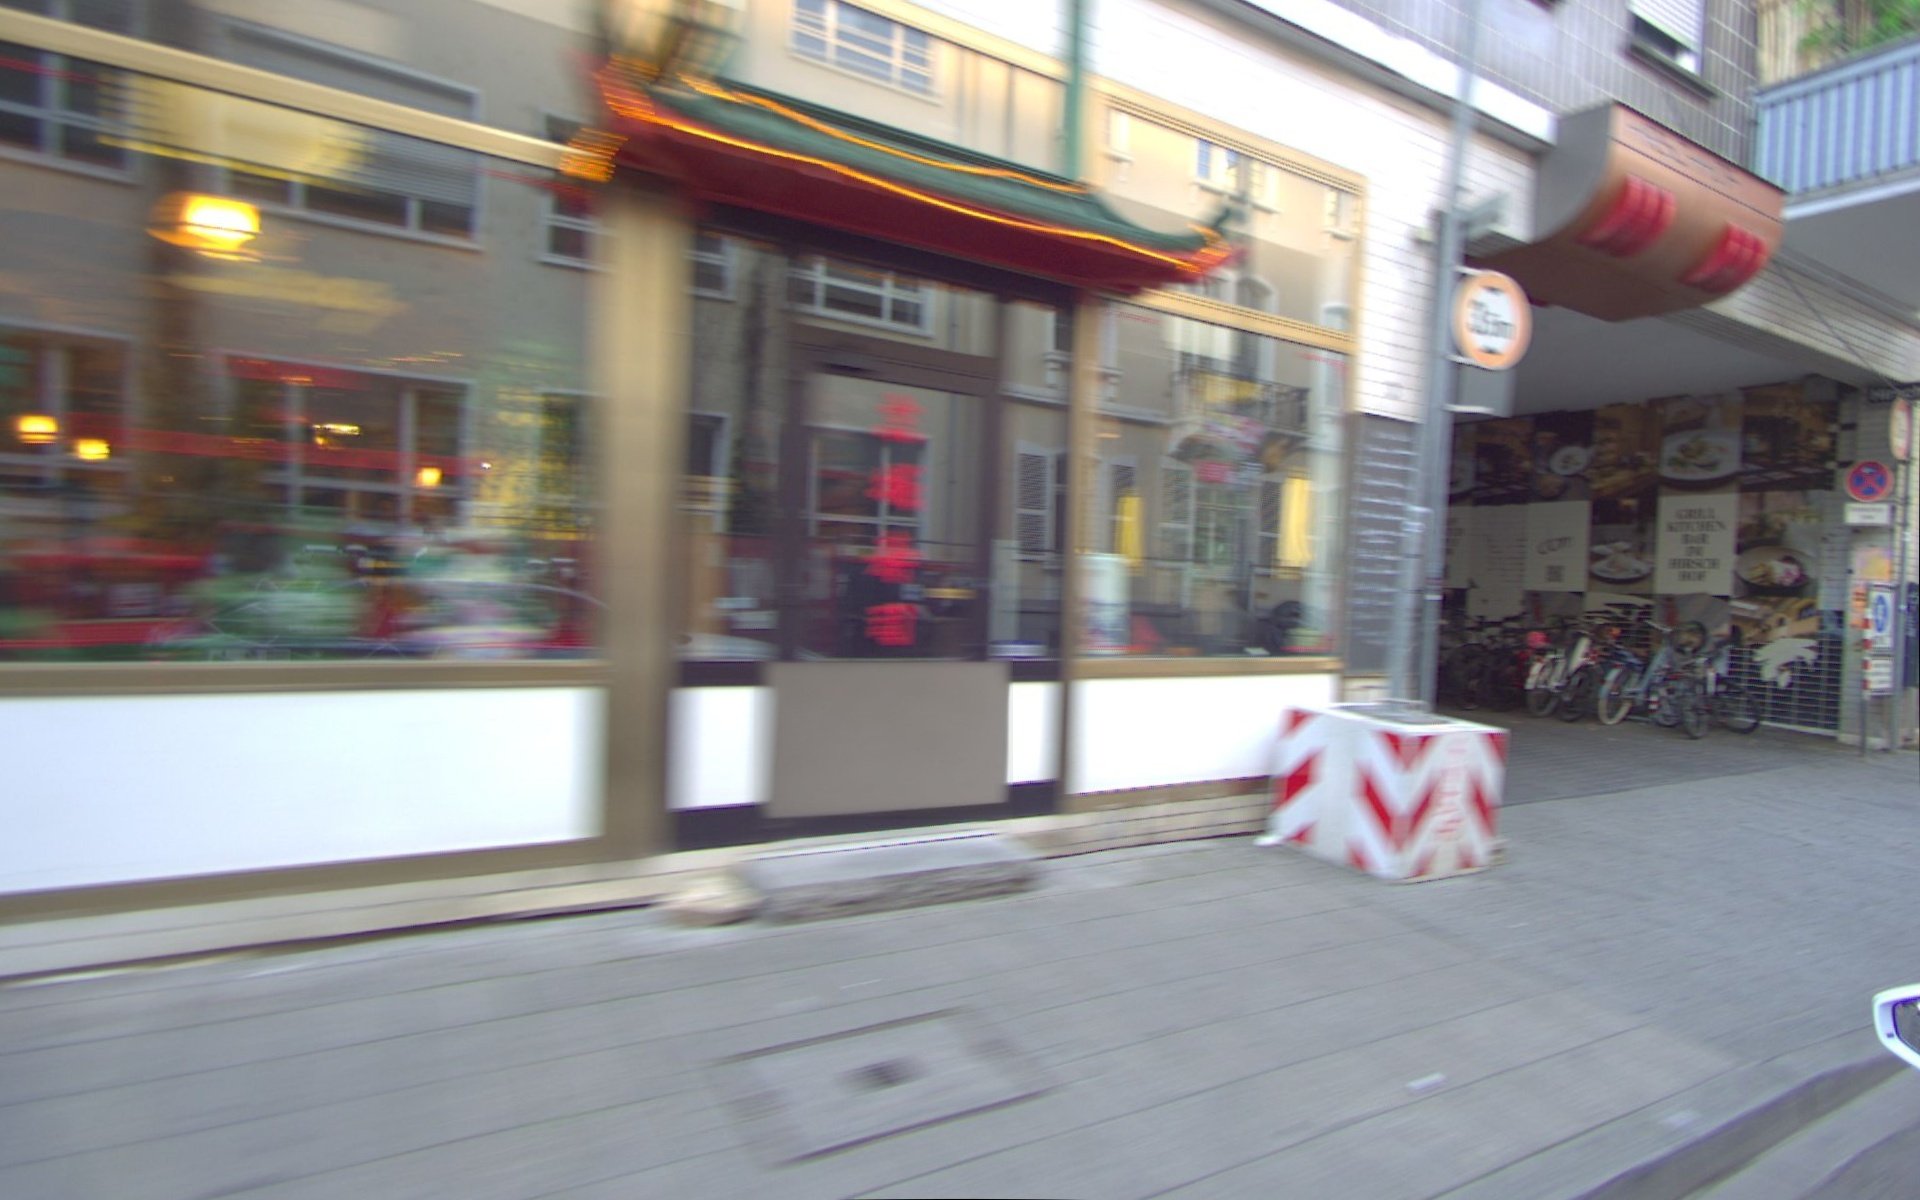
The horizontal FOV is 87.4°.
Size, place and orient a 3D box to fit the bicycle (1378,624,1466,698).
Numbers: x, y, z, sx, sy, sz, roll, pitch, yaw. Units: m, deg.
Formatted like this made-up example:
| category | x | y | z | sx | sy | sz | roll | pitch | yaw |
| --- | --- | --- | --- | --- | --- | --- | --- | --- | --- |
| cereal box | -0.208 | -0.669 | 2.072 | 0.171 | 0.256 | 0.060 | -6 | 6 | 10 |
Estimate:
| category | x | y | z | sx | sy | sz | roll | pitch | yaw |
| --- | --- | --- | --- | --- | --- | --- | --- | --- | --- |
| bicycle | 6.448 | 0.829 | 13.989 | 1.486 | 0.974 | 0.375 | 0 | 2 | -34 |

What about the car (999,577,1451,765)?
| category | x | y | z | sx | sy | sz | roll | pitch | yaw |
| --- | --- | --- | --- | --- | --- | --- | --- | --- | --- |
| car | 2.425 | 0.551 | 10.325 | 1.998 | 1.441 | 4.292 | 2 | 1 | -31 |

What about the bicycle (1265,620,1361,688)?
| category | x | y | z | sx | sy | sz | roll | pitch | yaw |
| --- | --- | --- | --- | --- | --- | --- | --- | --- | --- |
| bicycle | 5.392 | 0.805 | 15.314 | 1.777 | 0.974 | 0.375 | 0 | 2 | -34 |

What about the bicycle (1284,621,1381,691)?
| category | x | y | z | sx | sy | sz | roll | pitch | yaw |
| --- | --- | --- | --- | --- | --- | --- | --- | --- | --- |
| bicycle | 5.585 | 0.808 | 15.005 | 1.777 | 0.974 | 0.375 | 0 | 2 | -34 |

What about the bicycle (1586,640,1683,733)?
| category | x | y | z | sx | sy | sz | roll | pitch | yaw |
| --- | --- | --- | --- | --- | --- | --- | --- | --- | --- |
| bicycle | 7.809 | 0.971 | 11.615 | 1.486 | 0.974 | 0.375 | 0 | 2 | -34 |

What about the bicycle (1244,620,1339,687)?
| category | x | y | z | sx | sy | sz | roll | pitch | yaw |
| --- | --- | --- | --- | --- | --- | --- | --- | --- | --- |
| bicycle | 5.175 | 0.808 | 15.645 | 1.777 | 0.974 | 0.375 | 0 | 2 | -34 |

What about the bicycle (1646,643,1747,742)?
| category | x | y | z | sx | sy | sz | roll | pitch | yaw |
| --- | --- | --- | --- | --- | --- | --- | --- | --- | --- |
| bicycle | 8.071 | 0.987 | 10.990 | 1.486 | 0.974 | 0.375 | 0 | 2 | -34 |

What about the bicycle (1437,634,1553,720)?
| category | x | y | z | sx | sy | sz | roll | pitch | yaw |
| --- | --- | --- | --- | --- | --- | --- | --- | --- | --- |
| bicycle | 6.608 | 0.921 | 12.378 | 1.776 | 0.974 | 0.375 | 0 | 2 | -31 |

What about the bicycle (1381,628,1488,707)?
| category | x | y | z | sx | sy | sz | roll | pitch | yaw |
| --- | --- | --- | --- | --- | --- | --- | --- | --- | --- |
| bicycle | 6.319 | 0.870 | 13.346 | 1.777 | 0.974 | 0.375 | 0 | 2 | -33 |

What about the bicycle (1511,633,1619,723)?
| category | x | y | z | sx | sy | sz | roll | pitch | yaw |
| --- | --- | --- | --- | --- | --- | --- | --- | --- | --- |
| bicycle | 7.281 | 0.908 | 12.063 | 1.777 | 0.974 | 0.375 | 0 | 2 | -34 |

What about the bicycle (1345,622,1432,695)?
| category | x | y | z | sx | sy | sz | roll | pitch | yaw |
| --- | --- | --- | --- | --- | --- | --- | --- | --- | --- |
| bicycle | 6.136 | 0.821 | 14.367 | 1.486 | 0.974 | 0.375 | 0 | 2 | -34 |
